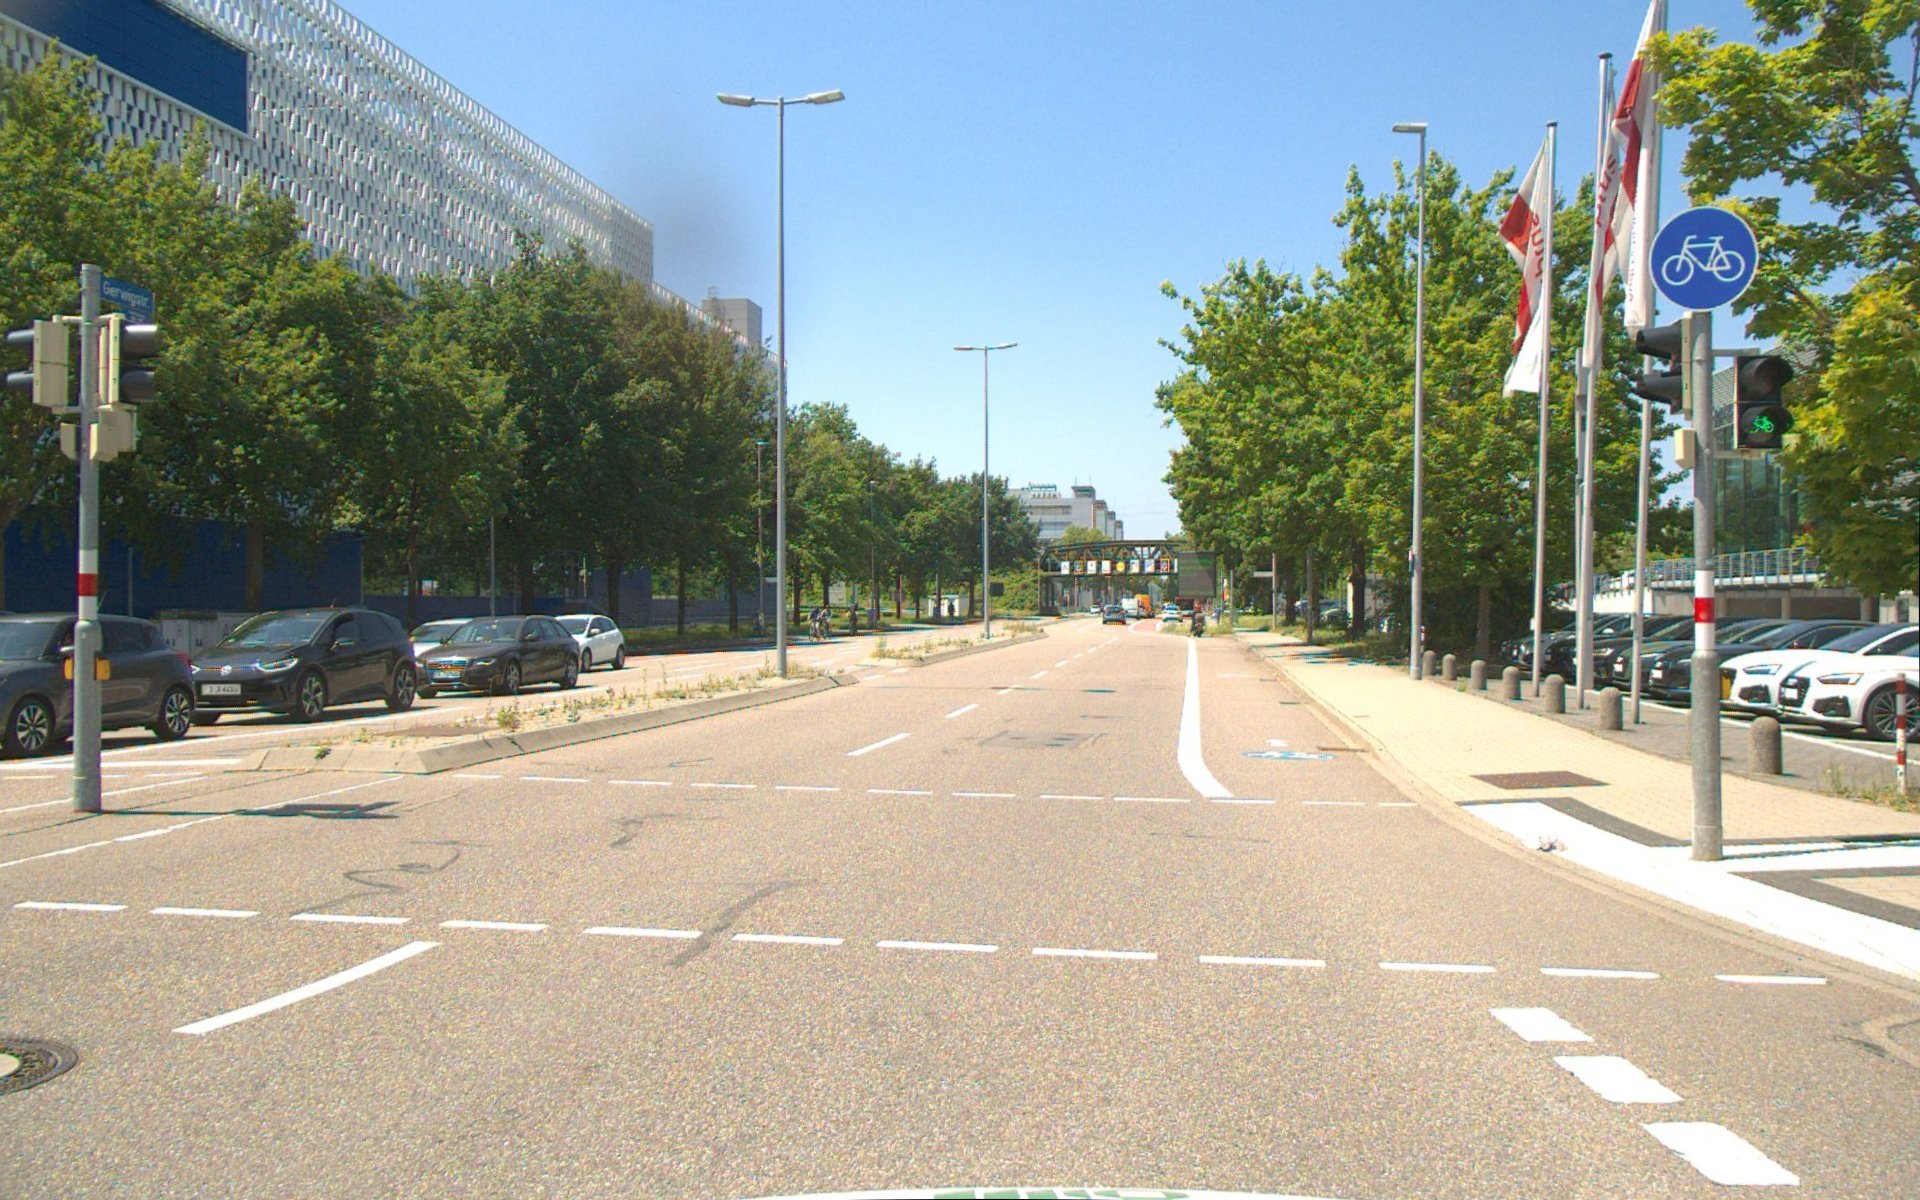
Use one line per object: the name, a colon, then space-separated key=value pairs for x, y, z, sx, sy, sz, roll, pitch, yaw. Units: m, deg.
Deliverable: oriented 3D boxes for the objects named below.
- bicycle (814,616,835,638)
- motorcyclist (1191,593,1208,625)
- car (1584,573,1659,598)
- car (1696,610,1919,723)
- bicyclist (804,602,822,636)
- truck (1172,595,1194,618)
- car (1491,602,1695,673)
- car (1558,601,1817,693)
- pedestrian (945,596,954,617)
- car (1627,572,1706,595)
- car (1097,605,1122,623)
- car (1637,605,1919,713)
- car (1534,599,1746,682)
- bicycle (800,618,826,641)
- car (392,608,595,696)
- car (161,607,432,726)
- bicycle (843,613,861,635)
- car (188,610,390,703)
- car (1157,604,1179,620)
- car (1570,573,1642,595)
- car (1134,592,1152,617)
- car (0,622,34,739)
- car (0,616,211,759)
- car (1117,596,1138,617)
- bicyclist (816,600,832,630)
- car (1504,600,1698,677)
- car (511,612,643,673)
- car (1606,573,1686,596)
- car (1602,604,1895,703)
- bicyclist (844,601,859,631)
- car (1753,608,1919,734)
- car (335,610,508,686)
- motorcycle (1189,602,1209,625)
bicycle: x=-7.255 y=1.421 z=88.833 sx=0.624 sy=1.153 sz=1.972 roll=0 pitch=0 yaw=11
motorcyclist: x=11.995 y=0.448 z=82.810 sx=0.705 sy=1.556 sz=0.870 roll=1 pitch=0 yaw=-2
car: x=40.409 y=-0.875 z=101.093 sx=3.903 sy=1.334 sz=1.798 roll=2 pitch=0 yaw=4
car: x=12.382 y=0.903 z=22.408 sx=4.012 sy=1.372 sz=1.870 roll=2 pitch=0 yaw=8
bicyclist: x=-7.548 y=0.975 z=84.894 sx=0.729 sy=1.715 sz=0.953 roll=0 pitch=0 yaw=9
truck: x=25.414 y=0.699 z=188.501 sx=2.406 sy=2.452 sz=7.139 roll=2 pitch=0 yaw=8
car: x=14.787 y=0.860 z=38.820 sx=4.142 sy=1.426 sz=1.818 roll=2 pitch=0 yaw=8
car: x=13.448 y=0.847 z=30.771 sx=4.014 sy=1.478 sz=1.870 roll=2 pitch=0 yaw=8
pedestrian: x=-0.914 y=0.589 z=149.768 sx=0.728 sy=1.917 sz=0.578 roll=0 pitch=0 yaw=8
car: x=39.017 y=-0.925 z=91.364 sx=3.646 sy=1.150 sz=1.685 roll=2 pitch=0 yaw=4
car: x=12.018 y=1.085 z=132.852 sx=1.860 sy=1.400 sz=4.235 roll=0 pitch=0 yaw=7
car: x=12.695 y=0.873 z=25.056 sx=4.136 sy=1.414 sz=1.870 roll=2 pitch=0 yaw=8
car: x=13.748 y=0.793 z=33.627 sx=3.603 sy=1.478 sz=1.835 roll=2 pitch=0 yaw=8
bicycle: x=-7.535 y=1.502 z=84.990 sx=0.723 sy=1.145 sz=2.436 roll=0 pitch=0 yaw=9
car: x=-8.550 y=0.922 z=30.794 sx=1.689 sy=1.471 sz=4.723 roll=-2 pitch=-1 yaw=10
car: x=-9.456 y=0.904 z=23.971 sx=1.690 sy=1.531 sz=4.246 roll=-2 pitch=-1 yaw=8
bicycle: x=-6.105 y=1.351 z=93.619 sx=0.615 sy=1.179 sz=2.119 roll=-2 pitch=0 yaw=7
car: x=-12.107 y=0.987 z=30.125 sx=1.690 sy=1.571 sz=3.918 roll=-1 pitch=-1 yaw=8
car: x=19.050 y=1.074 z=151.528 sx=1.883 sy=1.445 sz=4.003 roll=1 pitch=0 yaw=7
car: x=40.737 y=-0.996 z=104.337 sx=3.903 sy=1.334 sz=1.798 roll=0 pitch=0 yaw=3
car: x=21.399 y=0.502 z=193.249 sx=2.028 sy=2.904 sz=6.770 roll=0 pitch=0 yaw=7
car: x=-12.969 y=1.003 z=19.351 sx=1.625 sy=1.449 sz=4.041 roll=-1 pitch=-1 yaw=8
car: x=-10.044 y=0.909 z=18.074 sx=1.609 sy=1.413 sz=3.718 roll=-2 pitch=-1 yaw=8
car: x=16.239 y=0.631 z=159.923 sx=1.951 sy=2.049 sz=4.003 roll=0 pitch=0 yaw=7
bicyclist: x=-7.283 y=0.813 z=88.732 sx=0.623 sy=1.610 sz=0.885 roll=0 pitch=0 yaw=11
car: x=13.970 y=0.823 z=36.212 sx=3.603 sy=1.478 sz=1.835 roll=2 pitch=0 yaw=8
car: x=-9.968 y=1.078 z=43.369 sx=1.689 sy=1.471 sz=4.455 roll=-2 pitch=-1 yaw=10
car: x=39.055 y=-0.896 z=94.278 sx=3.856 sy=1.232 sz=1.718 roll=1 pitch=0 yaw=3
car: x=13.116 y=0.866 z=27.734 sx=4.014 sy=1.429 sz=1.870 roll=2 pitch=0 yaw=8
bicyclist: x=-6.129 y=0.895 z=93.561 sx=0.620 sy=1.657 sz=1.045 roll=-2 pitch=-1 yaw=7
car: x=11.929 y=0.873 z=19.752 sx=4.009 sy=1.388 sz=1.876 roll=2 pitch=0 yaw=8
car: x=-11.493 y=0.980 z=35.633 sx=1.709 sy=1.447 sz=4.627 roll=-2 pitch=0 yaw=7
motorcycle: x=11.965 y=0.676 z=82.824 sx=0.702 sy=1.124 sz=1.829 roll=1 pitch=0 yaw=-2
